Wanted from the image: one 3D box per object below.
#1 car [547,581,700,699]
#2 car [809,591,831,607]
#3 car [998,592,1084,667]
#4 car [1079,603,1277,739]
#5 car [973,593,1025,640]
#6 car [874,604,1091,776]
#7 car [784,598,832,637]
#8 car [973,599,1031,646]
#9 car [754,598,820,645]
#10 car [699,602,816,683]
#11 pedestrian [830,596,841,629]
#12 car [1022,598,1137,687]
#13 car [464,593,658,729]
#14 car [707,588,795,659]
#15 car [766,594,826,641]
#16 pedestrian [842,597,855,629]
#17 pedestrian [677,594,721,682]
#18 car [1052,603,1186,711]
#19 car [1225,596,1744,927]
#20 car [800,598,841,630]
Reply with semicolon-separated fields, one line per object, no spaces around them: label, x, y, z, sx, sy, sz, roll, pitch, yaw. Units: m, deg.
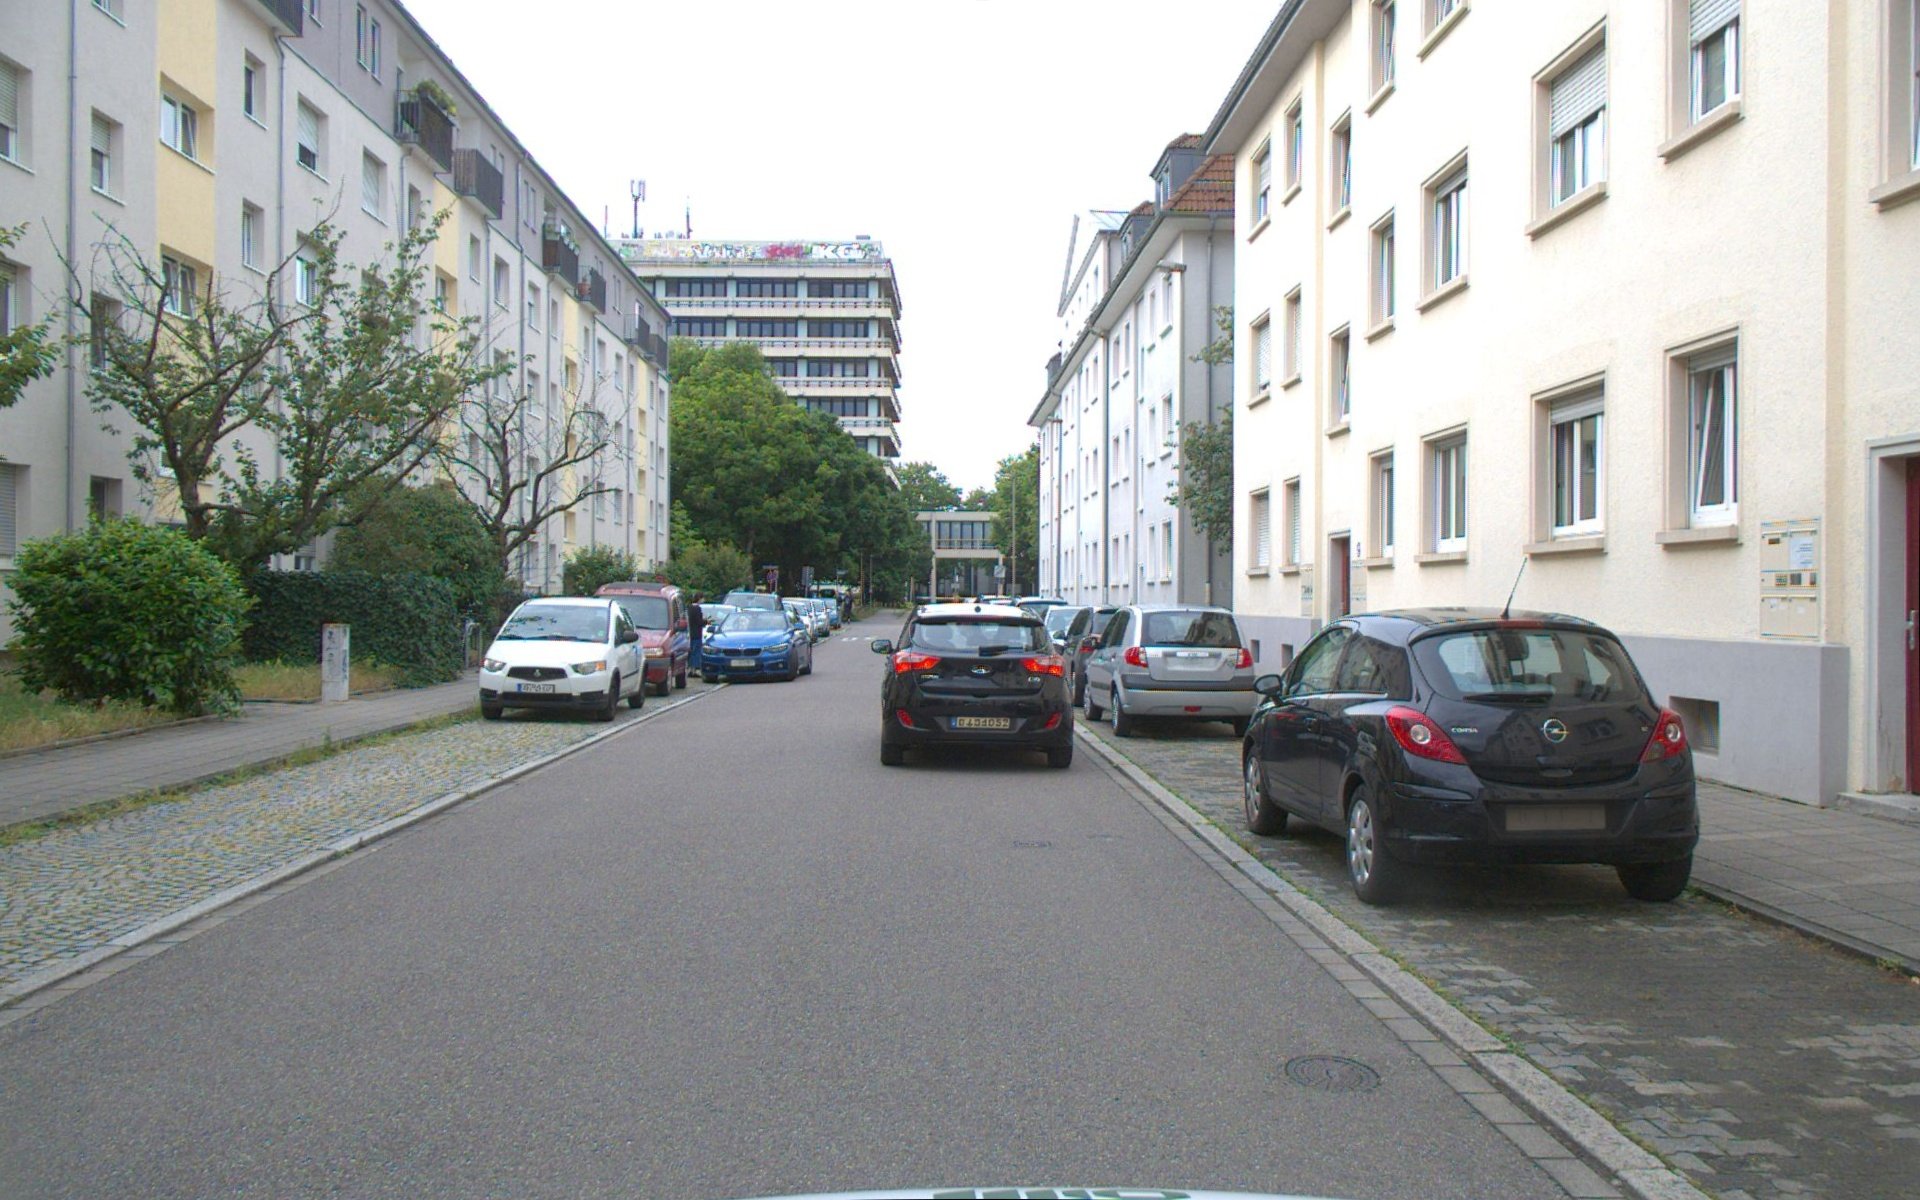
car;-5.542;0.623;27.781;1.918;1.801;4.358;1;0;-4
car;-11.962;-0.119;141.300;1.632;1.356;3.395;0;0;-2
car;1.879;0.655;39.364;1.783;1.671;4.090;1;0;-1
car;2.528;0.786;20.035;1.811;1.475;3.831;0;0;-1
car;1.394;0.574;60.537;1.783;1.631;4.090;0;0;-1
car;0.163;0.782;16.423;1.864;1.458;4.232;0;0;-1
car;-6.488;0.731;70.915;1.954;1.568;3.997;1;0;-4
car;1.373;0.730;55.603;1.783;1.529;4.090;0;0;-1
car;-5.864;0.700;56.499;1.857;1.477;4.519;2;0;-2
car;-3.963;0.800;33.051;1.807;1.476;4.500;0;0;0
pedestrian;-7.139;0.721;94.909;0.592;1.863;0.675;0;0;0
car;2.127;0.725;30.410;1.690;1.502;4.503;1;0;-1
car;-5.182;0.737;21.954;1.686;1.597;3.869;2;0;-2
car;-5.626;0.599;44.987;1.857;1.770;4.473;2;0;-2
car;-6.173;0.633;62.614;1.857;1.627;4.519;2;0;-2
pedestrian;-6.394;0.745;94.729;0.699;1.863;0.797;0;0;0
pedestrian;-5.221;0.745;33.059;0.729;1.731;0.792;-1;0;-19
car;2.365;0.810;25.377;1.570;1.502;3.868;1;0;-1
car;2.807;0.754;9.840;1.690;1.544;4.059;0;0;-2
car;-7.008;0.683;83.220;1.954;1.568;3.997;1;0;-4
